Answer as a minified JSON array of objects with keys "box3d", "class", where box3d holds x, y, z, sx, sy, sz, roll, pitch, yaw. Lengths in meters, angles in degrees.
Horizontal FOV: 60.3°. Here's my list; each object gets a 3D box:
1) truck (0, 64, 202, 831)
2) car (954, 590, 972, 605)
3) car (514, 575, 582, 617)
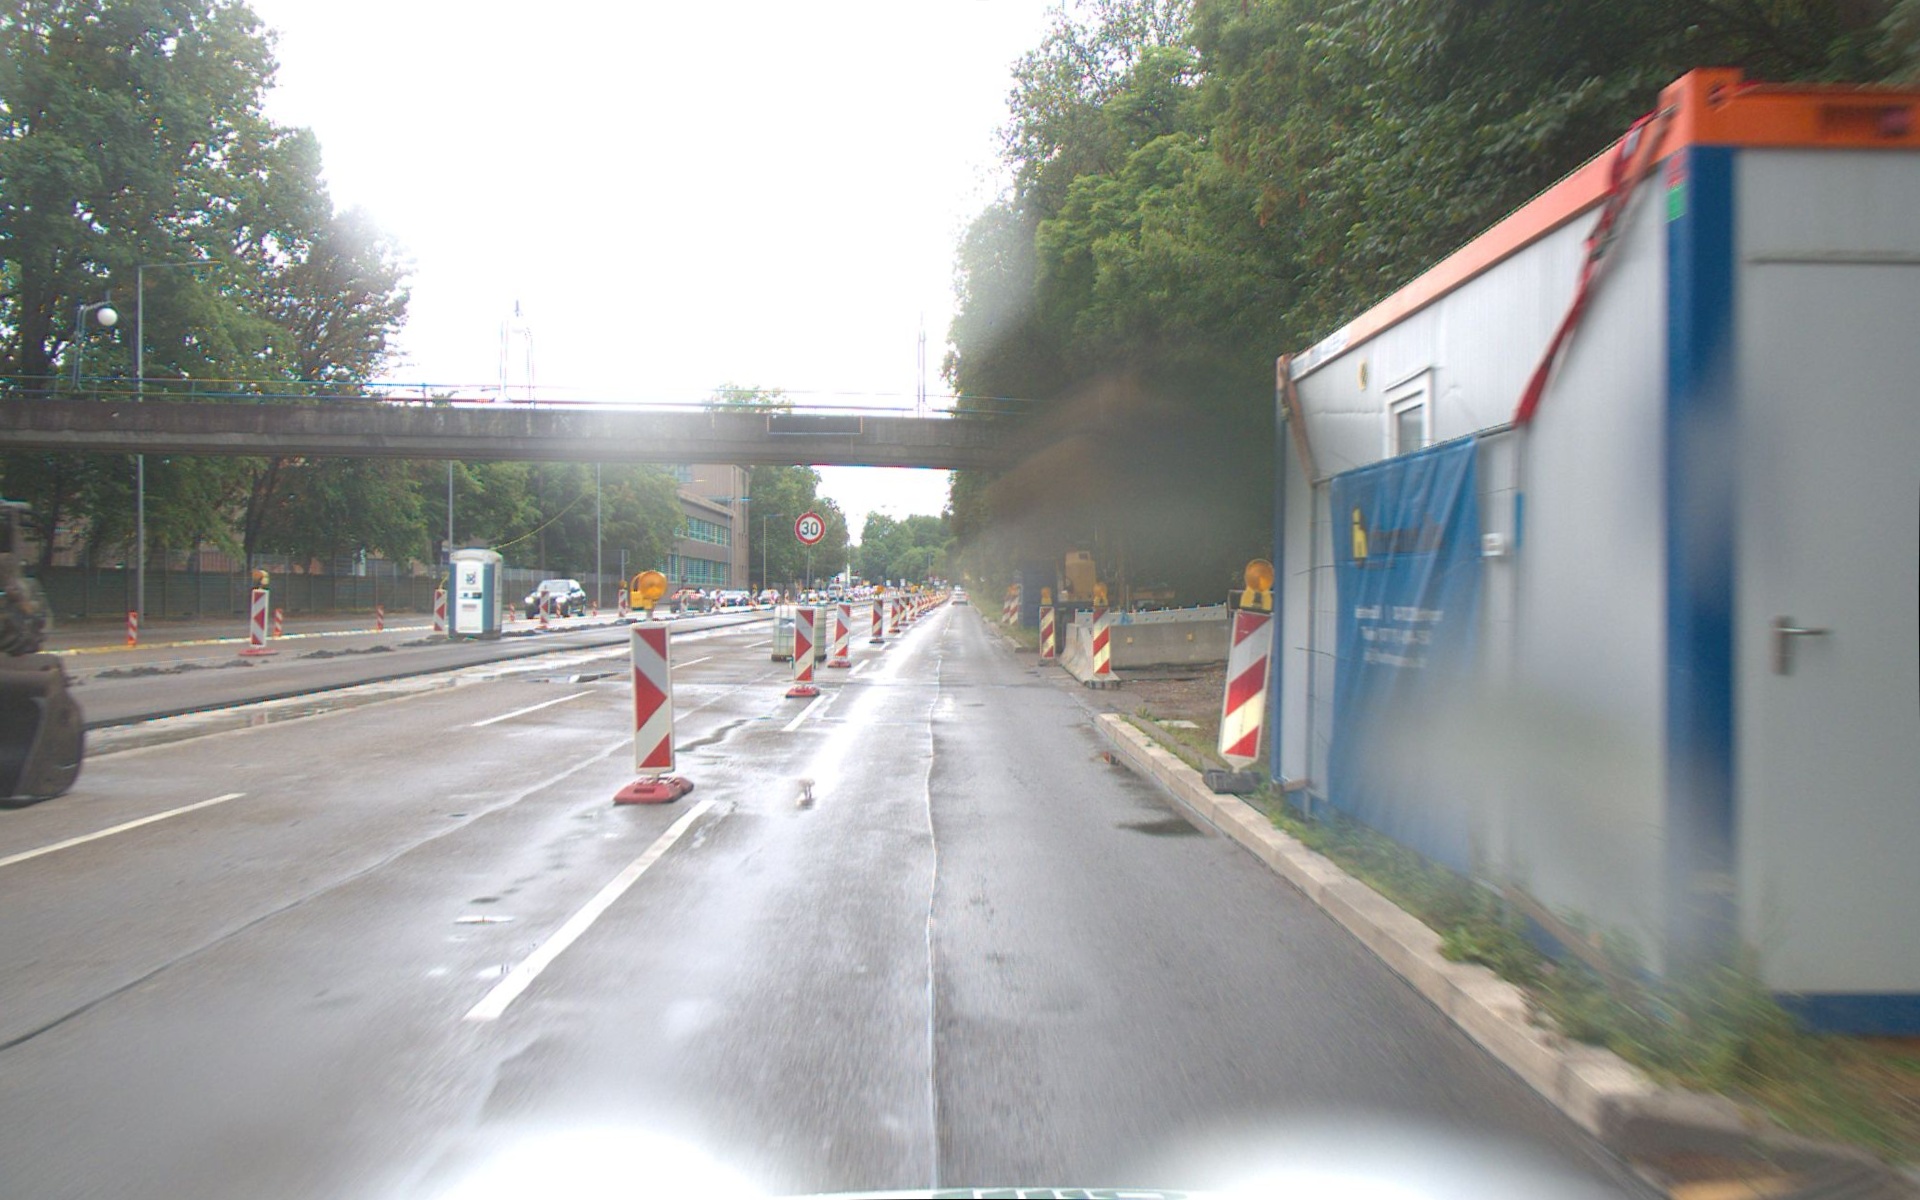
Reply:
[{"box3d":[-6.638,-0.853,6.887,2.841,4.333,10.744,1,0,-5],"class":"truck"},{"box3d":[0.285,-0.265,185.934,1.953,1.668,4.000,-1,0,-1],"class":"car"},{"box3d":[-18.835,-0.174,75.815,1.930,1.837,4.608,-1,0,1],"class":"car"}]
